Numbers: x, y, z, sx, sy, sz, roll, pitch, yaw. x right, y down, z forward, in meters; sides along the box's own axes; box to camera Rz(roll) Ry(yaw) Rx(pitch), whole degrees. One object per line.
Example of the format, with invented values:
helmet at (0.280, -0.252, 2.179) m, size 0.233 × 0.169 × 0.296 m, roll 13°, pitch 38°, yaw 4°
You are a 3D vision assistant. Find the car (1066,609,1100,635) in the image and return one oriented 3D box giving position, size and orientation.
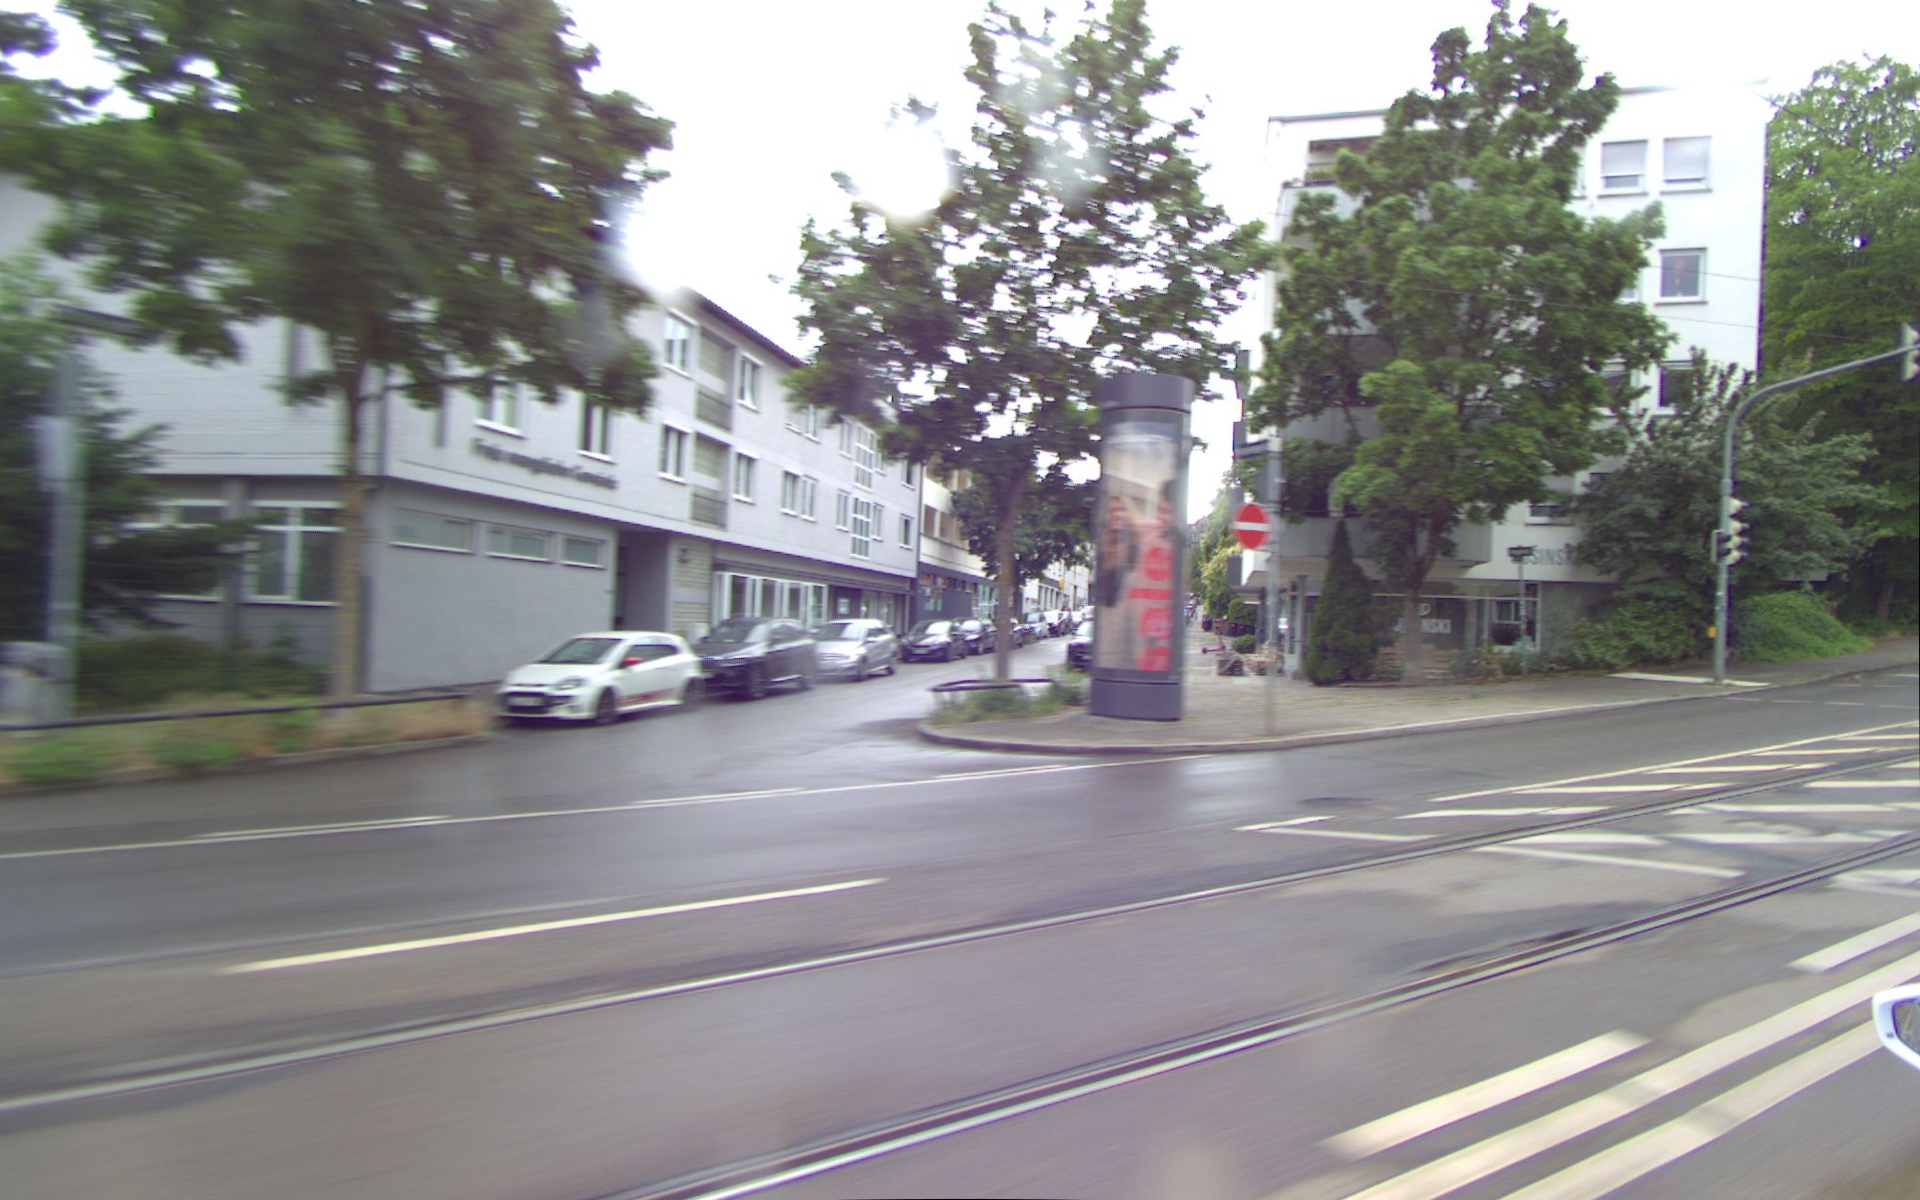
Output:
car at (8.955, 1.607, 73.060) m, size 1.960 × 1.743 × 4.003 m, roll 3°, pitch -1°, yaw 13°

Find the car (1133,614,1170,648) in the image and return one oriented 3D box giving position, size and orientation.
car at (11.537, 1.866, 60.416) m, size 1.960 × 1.884 × 4.003 m, roll 3°, pitch -1°, yaw 13°

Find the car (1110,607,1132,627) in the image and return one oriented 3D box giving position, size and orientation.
car at (17.433, 1.868, 108.676) m, size 1.960 × 2.040 × 4.003 m, roll 3°, pitch -1°, yaw 13°

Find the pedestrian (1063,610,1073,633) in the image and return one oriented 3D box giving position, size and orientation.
pedestrian at (9.728, 1.974, 90.530) m, size 0.725 × 2.040 × 0.742 m, roll 3°, pitch 0°, yaw 13°

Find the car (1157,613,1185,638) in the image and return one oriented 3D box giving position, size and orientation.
car at (16.871, 2.052, 80.208) m, size 1.960 × 1.840 × 4.003 m, roll 3°, pitch -1°, yaw 13°

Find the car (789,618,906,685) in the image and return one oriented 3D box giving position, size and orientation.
car at (-2.976, 1.345, 27.554) m, size 1.805 × 1.600 × 4.176 m, roll 3°, pitch -1°, yaw 13°

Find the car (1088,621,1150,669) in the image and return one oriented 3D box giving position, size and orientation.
car at (6.176, 1.678, 38.568) m, size 1.960 × 1.617 × 4.676 m, roll 3°, pitch -1°, yaw 13°

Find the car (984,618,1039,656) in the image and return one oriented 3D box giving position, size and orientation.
car at (2.488, 1.723, 47.653) m, size 1.805 × 1.664 × 4.205 m, roll 3°, pitch -1°, yaw 13°

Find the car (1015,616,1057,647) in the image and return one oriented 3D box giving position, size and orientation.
car at (4.566, 1.856, 59.832) m, size 1.805 × 1.664 × 4.205 m, roll 3°, pitch -1°, yaw 13°

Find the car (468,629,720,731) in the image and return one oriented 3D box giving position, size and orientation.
car at (-5.997, 1.246, 17.067) m, size 1.960 × 1.500 × 4.163 m, roll 0°, pitch -2°, yaw 16°

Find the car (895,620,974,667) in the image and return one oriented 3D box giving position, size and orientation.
car at (-0.847, 1.536, 36.576) m, size 1.805 × 1.513 × 4.205 m, roll 3°, pitch -1°, yaw 13°

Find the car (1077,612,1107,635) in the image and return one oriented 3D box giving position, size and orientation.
car at (10.318, 1.810, 78.305) m, size 1.805 × 1.664 × 4.205 m, roll 3°, pitch -1°, yaw 13°

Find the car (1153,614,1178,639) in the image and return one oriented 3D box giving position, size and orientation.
car at (18.432, 2.352, 90.080) m, size 1.960 × 2.040 × 4.003 m, roll 3°, pitch -1°, yaw 13°

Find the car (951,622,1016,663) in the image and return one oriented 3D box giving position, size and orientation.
car at (1.043, 1.742, 42.234) m, size 1.854 × 1.550 × 4.002 m, roll 3°, pitch -1°, yaw 14°

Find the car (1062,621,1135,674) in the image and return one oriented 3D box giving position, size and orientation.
car at (4.634, 1.511, 33.201) m, size 1.960 × 1.538 × 4.003 m, roll 3°, pitch -1°, yaw 13°

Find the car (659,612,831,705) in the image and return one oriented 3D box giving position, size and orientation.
car at (-4.552, 1.201, 22.086) m, size 1.805 × 1.728 × 4.644 m, roll 3°, pitch -1°, yaw 13°
